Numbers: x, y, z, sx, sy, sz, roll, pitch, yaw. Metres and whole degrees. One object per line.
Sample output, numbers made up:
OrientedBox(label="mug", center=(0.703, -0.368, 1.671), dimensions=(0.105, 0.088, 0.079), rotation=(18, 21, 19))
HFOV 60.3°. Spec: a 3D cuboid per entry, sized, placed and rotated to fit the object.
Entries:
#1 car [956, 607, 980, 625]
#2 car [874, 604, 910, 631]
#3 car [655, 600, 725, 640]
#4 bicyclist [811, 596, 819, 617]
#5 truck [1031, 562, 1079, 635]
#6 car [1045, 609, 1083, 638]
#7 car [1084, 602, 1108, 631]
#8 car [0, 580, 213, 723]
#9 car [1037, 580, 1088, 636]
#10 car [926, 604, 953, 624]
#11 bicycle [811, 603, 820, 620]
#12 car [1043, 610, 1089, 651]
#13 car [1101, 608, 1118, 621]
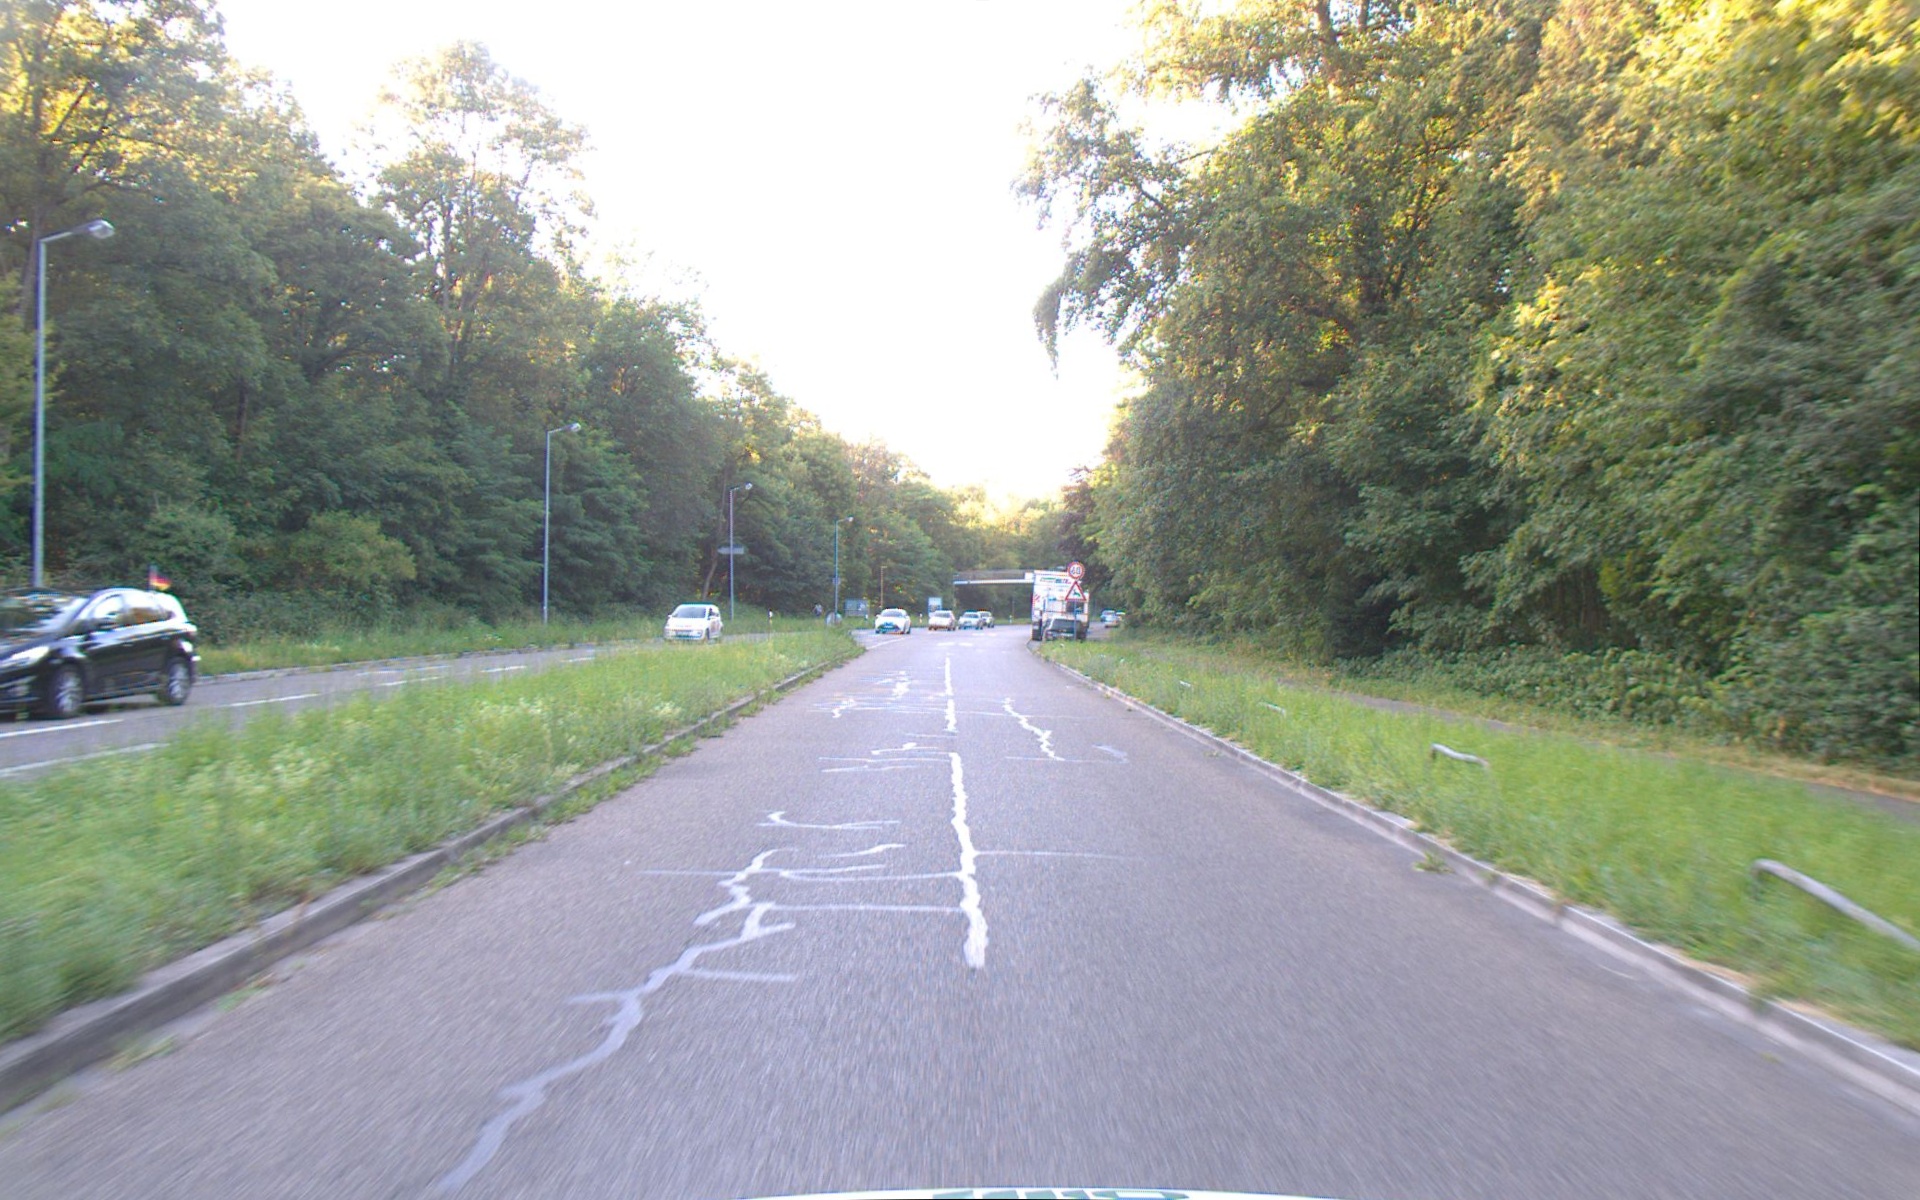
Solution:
OrientedBox(label="car", center=(0.669, 1.362, 139.481), dimensions=(1.684, 1.422, 4.377), rotation=(1, 0, 4))
OrientedBox(label="car", center=(-4.045, 1.067, 99.402), dimensions=(1.797, 1.534, 3.939), rotation=(0, -2, 3))
OrientedBox(label="car", center=(-10.306, 0.791, 63.369), dimensions=(1.952, 1.484, 3.810), rotation=(0, -2, 1))
OrientedBox(label="bicyclist", center=(-10.710, 0.455, 122.356), dimensions=(0.608, 1.537, 0.846), rotation=(0, 1, -5))
OrientedBox(label="truck", center=(5.706, -0.082, 98.683), dimensions=(2.602, 4.098, 9.726), rotation=(1, 0, 4))
OrientedBox(label="car", center=(5.266, 1.195, 84.135), dimensions=(1.663, 1.430, 4.075), rotation=(1, 0, 0))
OrientedBox(label="car", center=(12.194, 1.487, 148.044), dimensions=(1.951, 2.452, 5.827), rotation=(0, -2, 6))
OrientedBox(label="car", center=(-11.734, 0.615, 21.501), dimensions=(1.953, 1.656, 4.650), rotation=(-1, 0, -1))
OrientedBox(label="car", center=(5.575, 0.432, 90.425), dimensions=(2.359, 2.908, 5.932), rotation=(2, 0, 0))
OrientedBox(label="car", center=(-1.529, 1.035, 125.242), dimensions=(1.680, 1.471, 4.175), rotation=(1, 0, 4))
OrientedBox(label="bicycle", center=(-10.709, 0.867, 122.387), dimensions=(0.617, 1.239, 2.259), rotation=(0, 0, -4))
OrientedBox(label="car", center=(4.071, 1.154, 64.051), dimensions=(1.629, 1.430, 3.943), rotation=(3, 0, 2))
OrientedBox(label="car", center=(17.505, 1.676, 193.638), dimensions=(1.851, 1.473, 4.112), rotation=(0, 0, 6))
